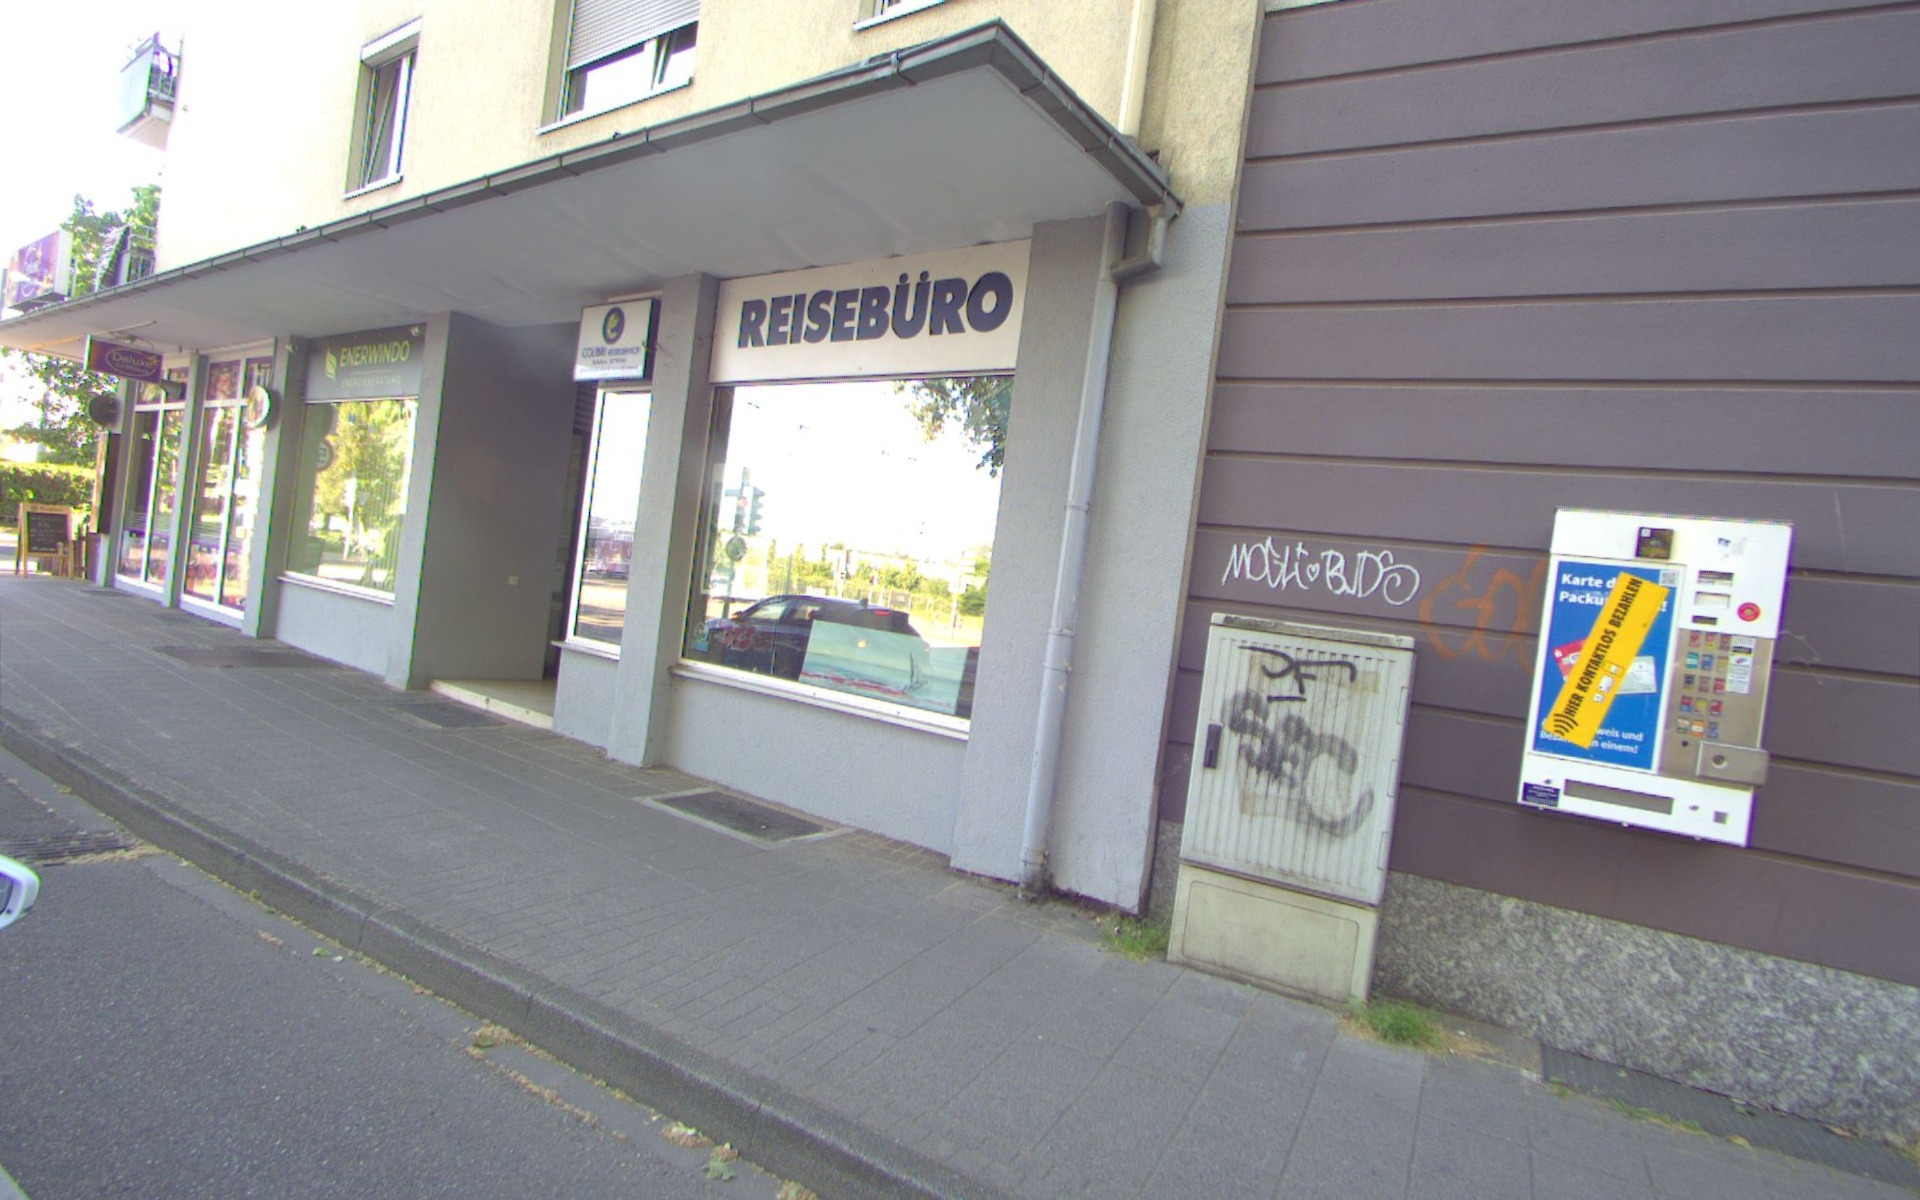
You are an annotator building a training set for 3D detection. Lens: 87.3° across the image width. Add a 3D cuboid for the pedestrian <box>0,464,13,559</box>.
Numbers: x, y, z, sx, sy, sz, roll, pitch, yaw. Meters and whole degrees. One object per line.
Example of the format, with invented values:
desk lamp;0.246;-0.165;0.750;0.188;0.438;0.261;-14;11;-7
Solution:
pedestrian;-18.939;-1.741;19.468;0.630;1.841;0.738;8;-1;-38
